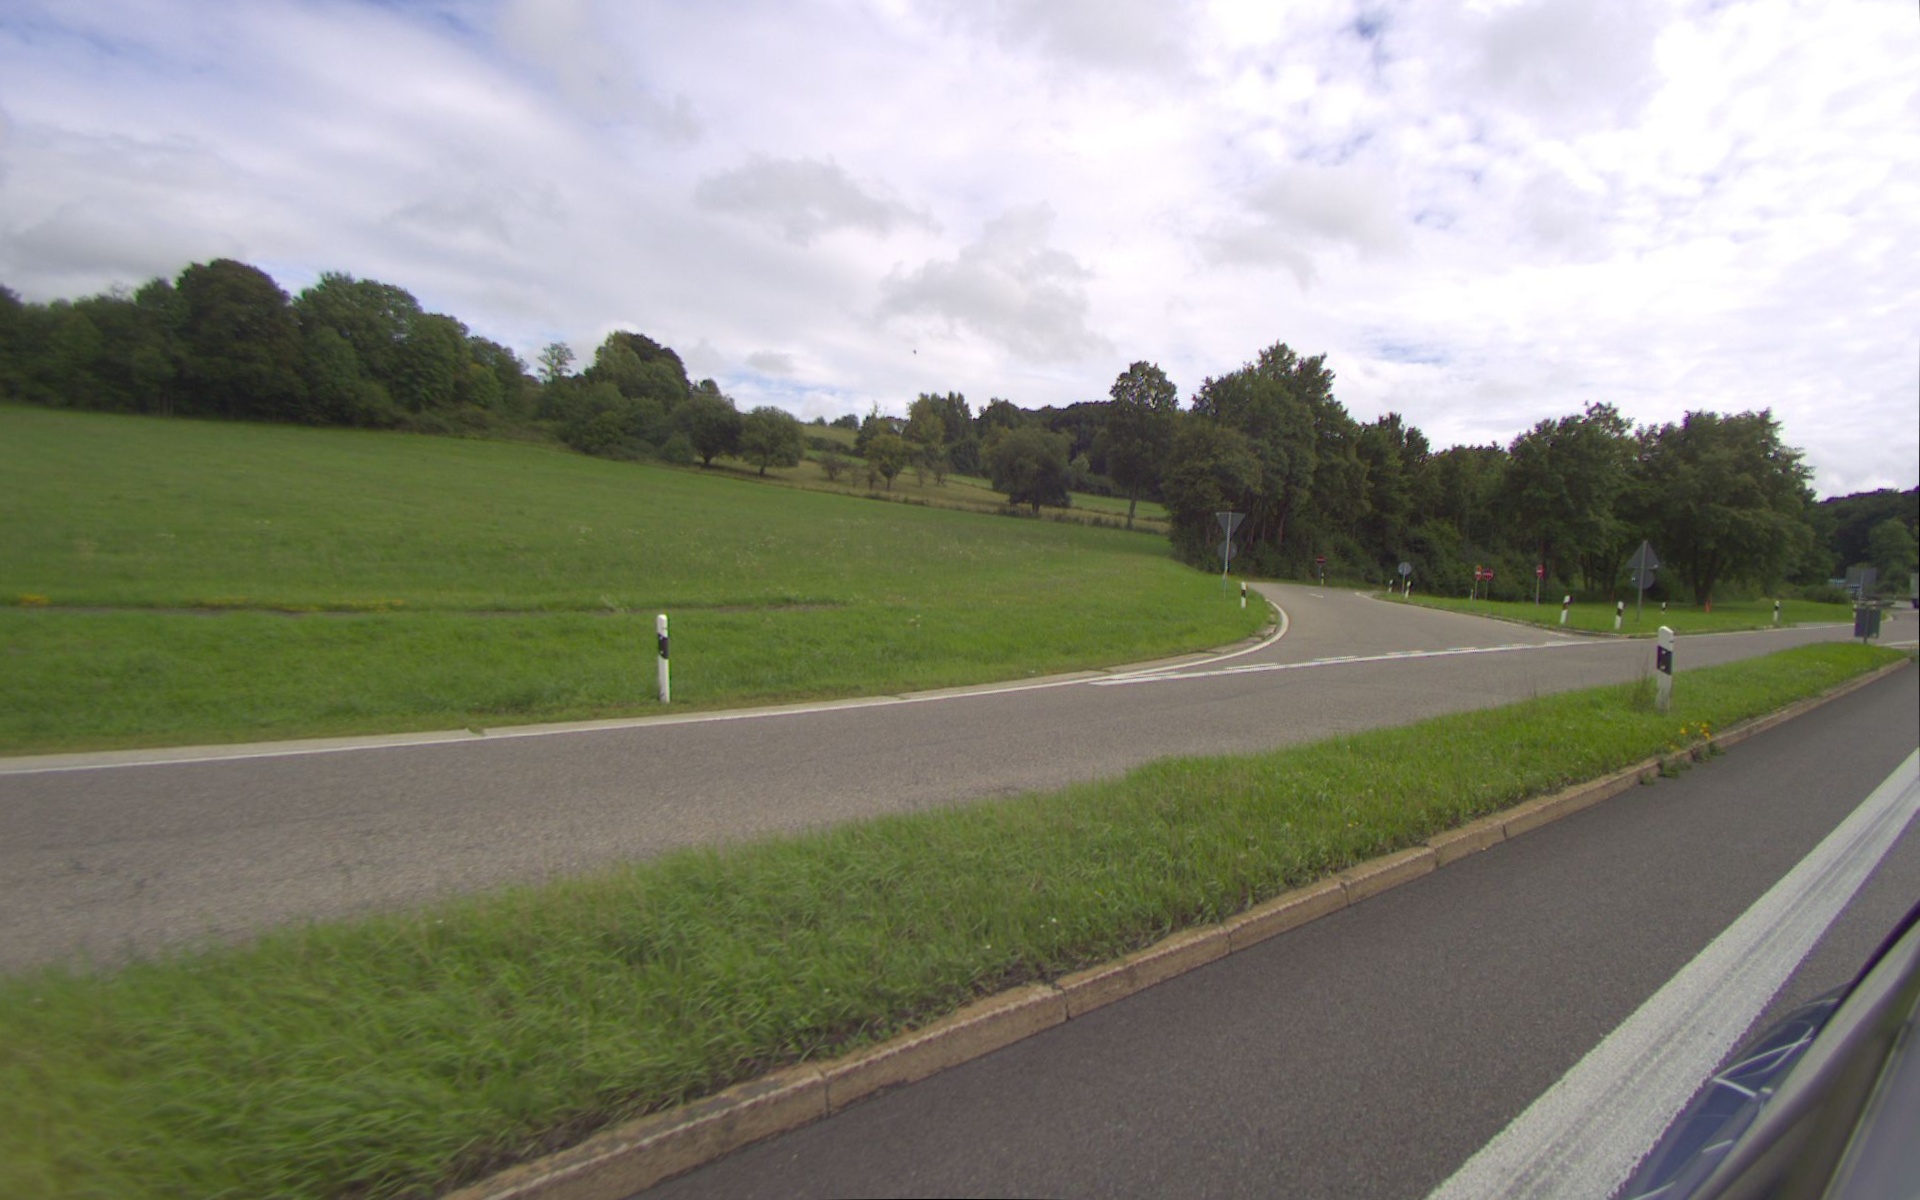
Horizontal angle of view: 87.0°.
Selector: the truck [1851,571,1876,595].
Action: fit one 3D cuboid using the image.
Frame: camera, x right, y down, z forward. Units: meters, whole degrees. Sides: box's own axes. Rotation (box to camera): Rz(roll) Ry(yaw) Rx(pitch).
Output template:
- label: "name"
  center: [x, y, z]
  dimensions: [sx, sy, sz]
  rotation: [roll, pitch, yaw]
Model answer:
- label: "truck"
  center: [160.755, -3.072, 180.086]
  dimensions: [2.784, 4.020, 5.858]
  rotation: [2, 3, 39]
